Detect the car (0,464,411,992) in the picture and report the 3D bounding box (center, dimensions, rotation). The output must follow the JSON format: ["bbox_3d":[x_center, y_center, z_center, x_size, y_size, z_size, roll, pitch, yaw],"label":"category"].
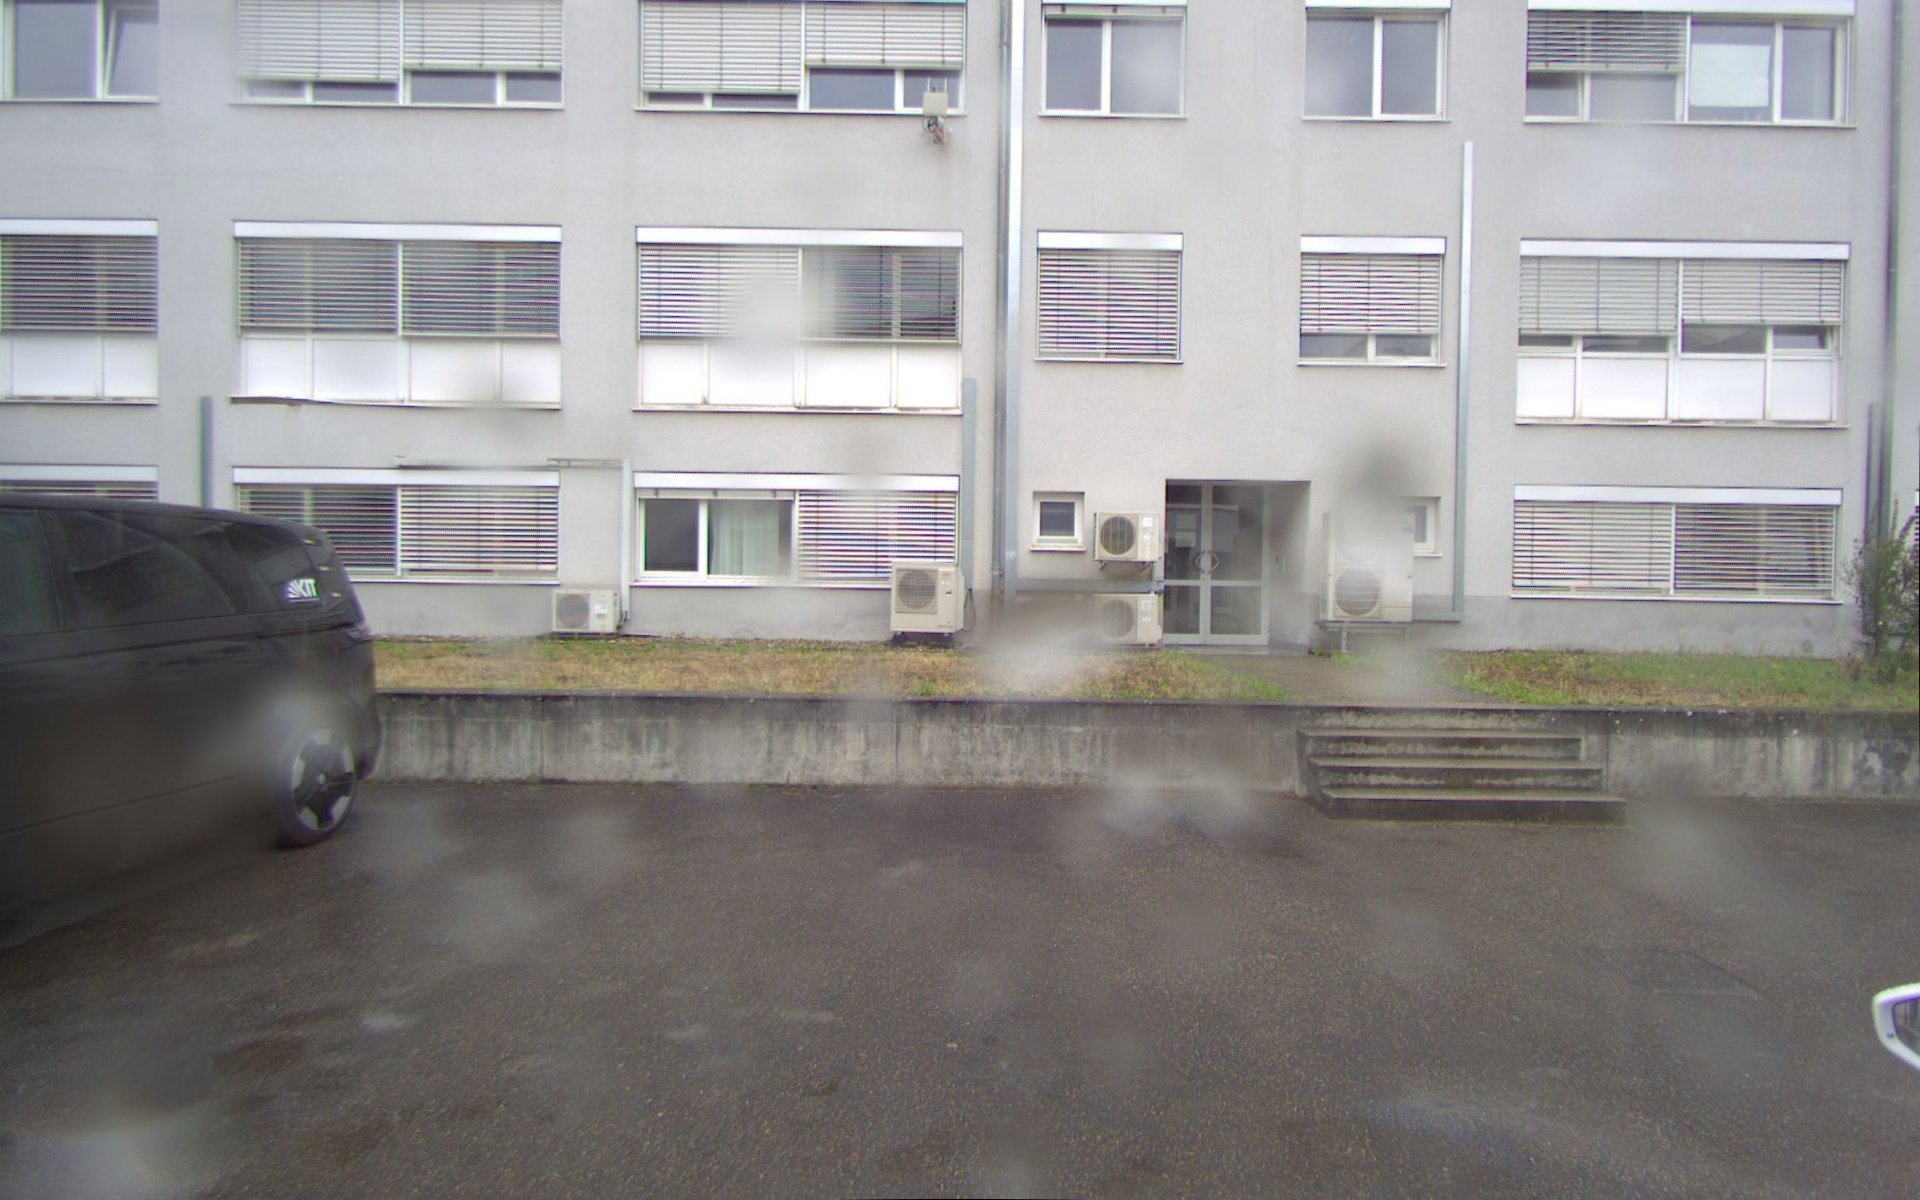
[{"bbox_3d":[-4.514,0.462,4.207,2.006,1.923,4.521,0,1,-1],"label":"car"}]
